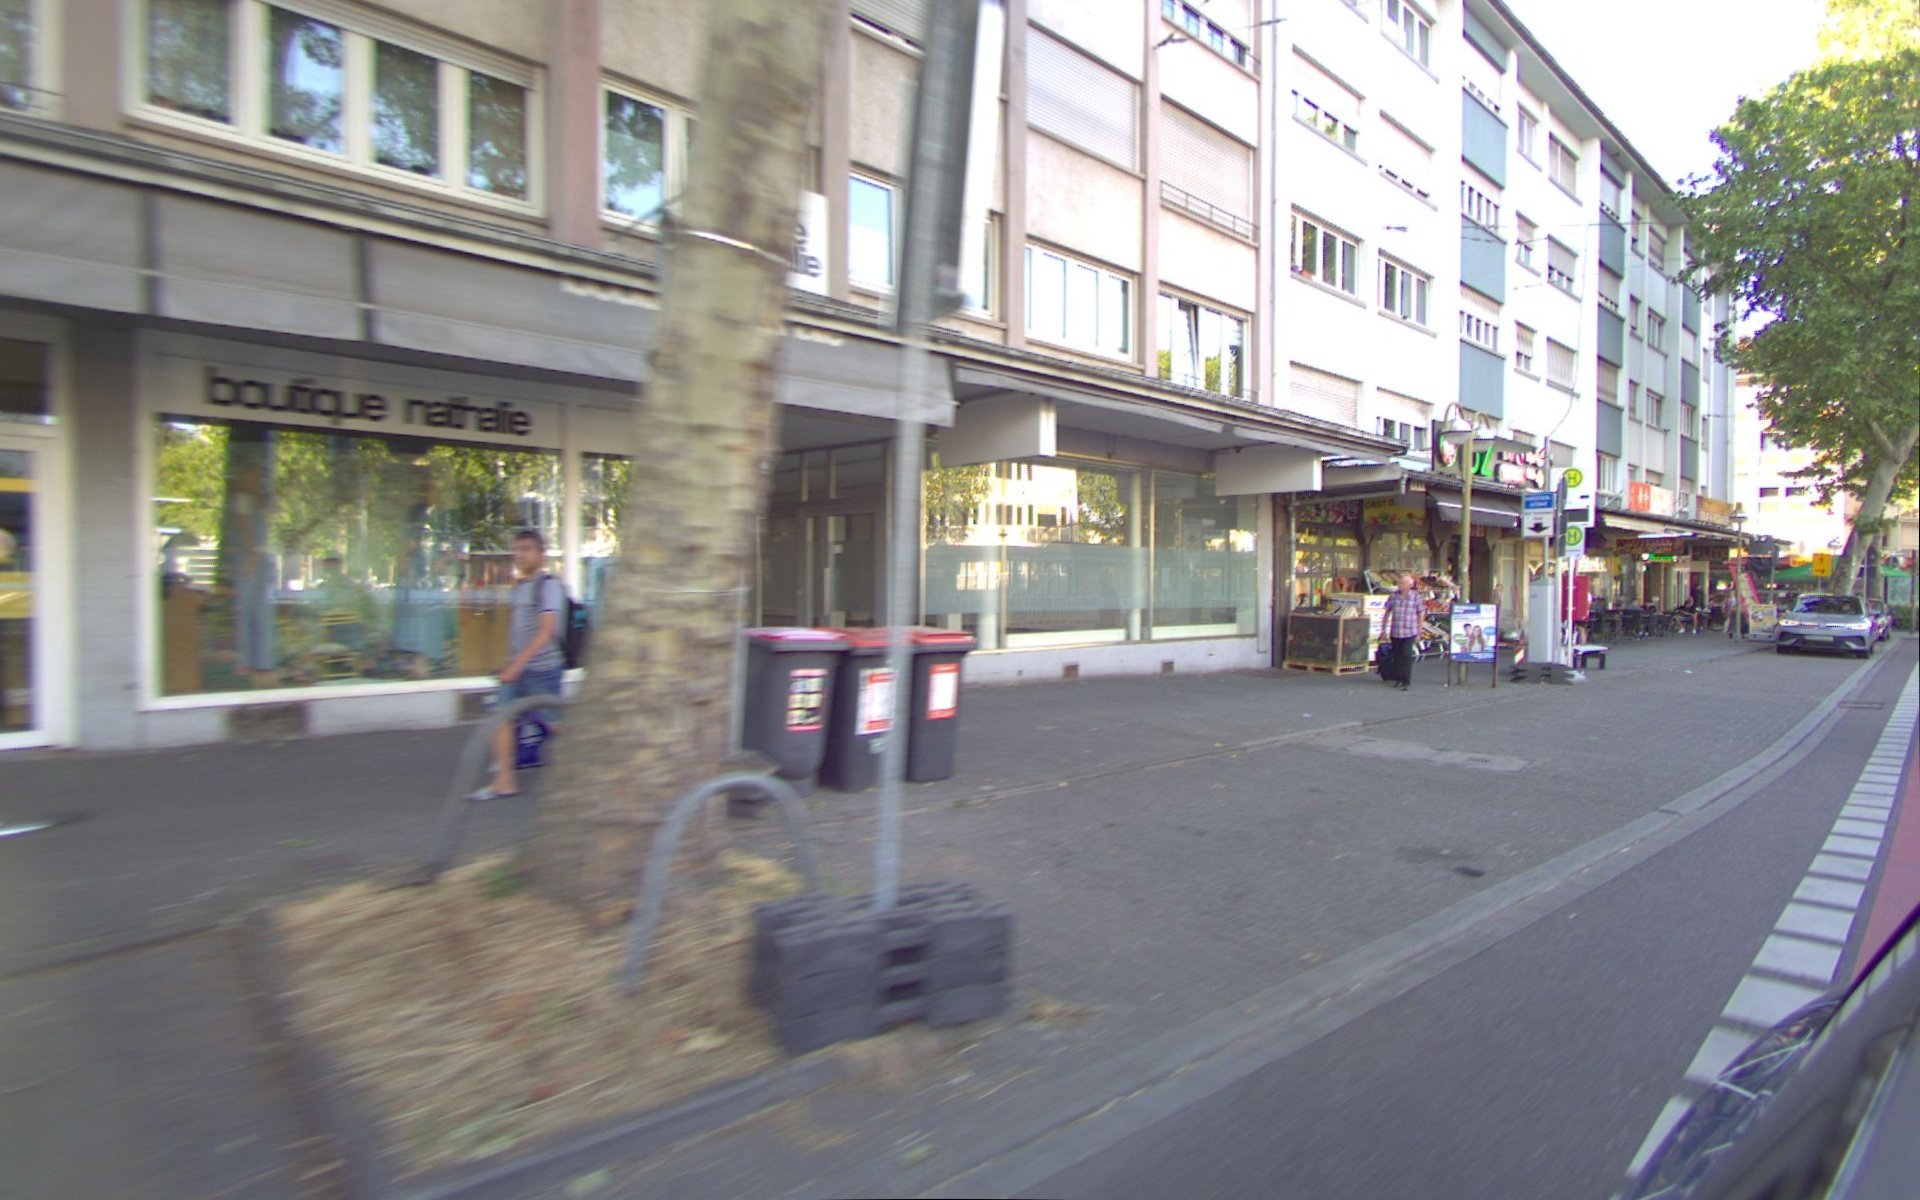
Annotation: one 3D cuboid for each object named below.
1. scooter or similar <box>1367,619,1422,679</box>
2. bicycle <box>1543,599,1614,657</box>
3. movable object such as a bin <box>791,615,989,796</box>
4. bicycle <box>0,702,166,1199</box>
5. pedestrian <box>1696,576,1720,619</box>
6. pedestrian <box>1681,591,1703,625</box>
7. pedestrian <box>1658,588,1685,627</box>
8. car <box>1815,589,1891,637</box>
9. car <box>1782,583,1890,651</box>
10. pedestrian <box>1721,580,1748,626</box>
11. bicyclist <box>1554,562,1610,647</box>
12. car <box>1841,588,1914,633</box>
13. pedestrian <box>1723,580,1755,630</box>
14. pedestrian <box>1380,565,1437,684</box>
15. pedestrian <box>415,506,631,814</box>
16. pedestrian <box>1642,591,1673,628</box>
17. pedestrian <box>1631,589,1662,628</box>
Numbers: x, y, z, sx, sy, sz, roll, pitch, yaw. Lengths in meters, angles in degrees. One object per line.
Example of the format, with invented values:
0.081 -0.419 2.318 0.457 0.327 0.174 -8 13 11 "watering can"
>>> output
6.603 0.733 15.421 0.567 0.854 0.732 0 1 6 "scooter or similar"
13.123 0.565 21.443 0.777 1.117 2.231 4 3 44 "bicycle"
-0.476 0.680 7.103 1.207 1.088 0.675 0 3 -43 "movable object such as a bin"
-2.261 0.861 2.197 1.790 1.034 0.634 3 2 45 "bicycle"
30.594 -0.121 41.397 0.708 1.730 0.667 0 0 43 "pedestrian"
25.660 0.283 35.488 0.514 1.148 0.504 1 1 25 "pedestrian"
24.062 0.238 34.221 0.596 1.281 0.645 0 1 -43 "pedestrian"
29.852 0.392 33.803 1.730 1.461 3.921 2 2 44 "car"
23.287 0.386 26.827 1.918 1.617 4.716 2 2 44 "car"
27.434 0.101 35.843 0.631 1.579 0.584 0 2 -41 "pedestrian"
13.201 0.081 21.479 0.770 1.730 0.816 4 3 44 "bicyclist"
33.212 0.340 36.590 3.738 1.497 1.657 0 2 -44 "car"
25.545 0.159 33.169 0.667 1.605 0.708 0 2 -44 "pedestrian"
6.535 0.344 14.772 0.637 1.694 0.554 0 0 11 "pedestrian"
-2.673 0.308 6.192 0.973 1.694 0.844 0 2 -43 "pedestrian"
22.683 0.303 32.925 0.698 1.191 0.676 0 1 -43 "pedestrian"
21.911 0.262 32.319 0.698 1.243 0.676 0 1 -44 "pedestrian"
